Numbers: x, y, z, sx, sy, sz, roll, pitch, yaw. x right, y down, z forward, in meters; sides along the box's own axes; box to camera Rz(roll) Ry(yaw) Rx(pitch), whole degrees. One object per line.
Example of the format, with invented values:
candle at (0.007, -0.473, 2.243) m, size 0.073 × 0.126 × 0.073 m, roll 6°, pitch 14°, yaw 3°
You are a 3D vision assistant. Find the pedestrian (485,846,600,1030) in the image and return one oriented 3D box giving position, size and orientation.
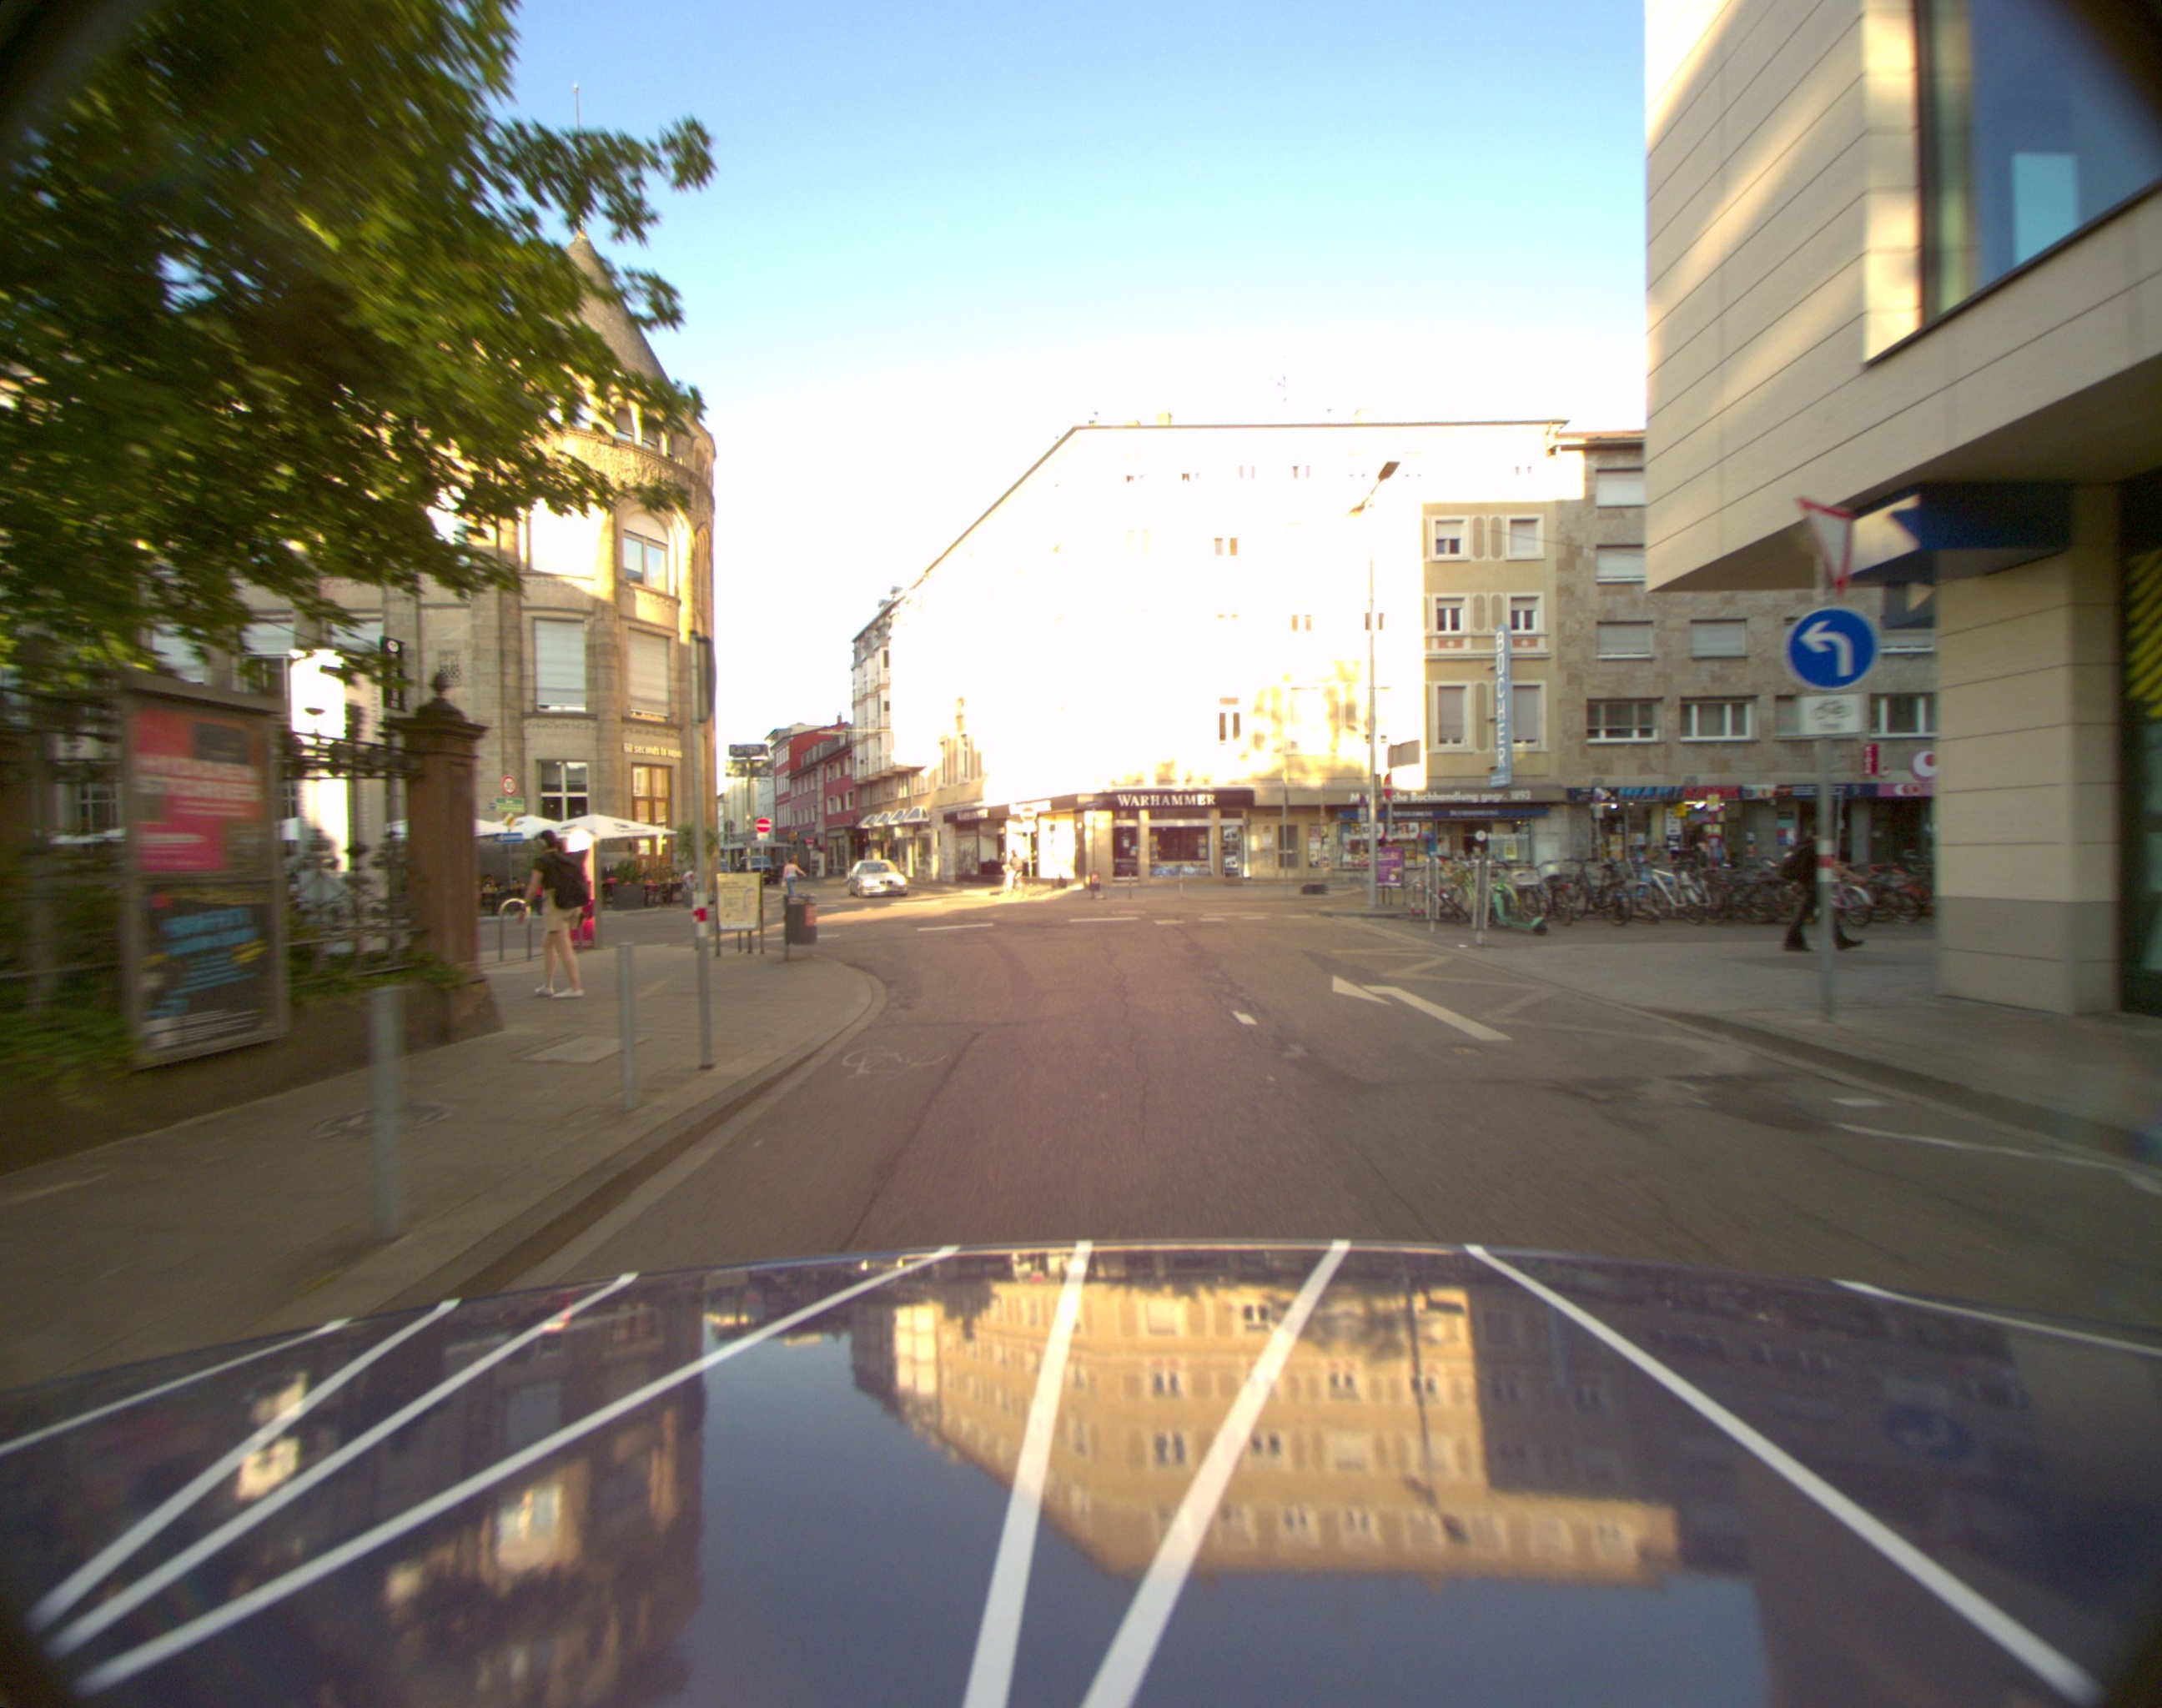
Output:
pedestrian at (-5.393, 0.789, 7.612) m, size 0.843 × 1.713 × 0.639 m, roll 0°, pitch 1°, yaw 35°

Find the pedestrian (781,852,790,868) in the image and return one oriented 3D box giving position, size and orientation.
pedestrian at (-27.202, 0.513, 69.991) m, size 0.613 × 1.464 × 0.546 m, roll -3°, pitch 2°, yaw -39°

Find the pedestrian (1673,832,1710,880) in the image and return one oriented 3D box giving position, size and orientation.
pedestrian at (21.997, 0.081, 27.408) m, size 0.802 × 1.697 × 0.665 m, roll -1°, pitch 1°, yaw 0°

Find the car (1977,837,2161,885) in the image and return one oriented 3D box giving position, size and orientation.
car at (31.293, 0.206, 23.977) m, size 3.998 × 1.383 × 1.863 m, roll -1°, pitch 1°, yaw -3°

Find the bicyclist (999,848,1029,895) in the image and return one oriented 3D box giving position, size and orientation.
bicyclist at (-2.321, 0.593, 26.250) m, size 0.661 × 1.562 × 0.861 m, roll -2°, pitch 2°, yaw -31°

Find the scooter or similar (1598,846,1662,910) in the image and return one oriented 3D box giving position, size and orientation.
scooter or similar at (11.389, 0.470, 15.787) m, size 0.387 × 1.253 × 1.270 m, roll -1°, pitch 2°, yaw -1°

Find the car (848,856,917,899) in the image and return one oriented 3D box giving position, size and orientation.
car at (-7.649, 0.835, 28.958) m, size 2.002 × 1.414 × 4.450 m, roll -2°, pitch 1°, yaw -21°

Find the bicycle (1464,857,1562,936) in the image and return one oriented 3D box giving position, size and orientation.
bicycle at (7.597, 0.701, 13.461) m, size 0.513 × 1.248 × 1.978 m, roll -2°, pitch 1°, yaw -3°

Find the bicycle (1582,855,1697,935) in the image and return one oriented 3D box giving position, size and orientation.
bicycle at (9.765, 0.672, 13.396) m, size 0.513 × 1.248 × 1.978 m, roll -1°, pitch 1°, yaw -2°

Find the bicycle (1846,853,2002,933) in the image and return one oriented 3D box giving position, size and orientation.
bicycle at (14.718, 0.631, 13.364) m, size 0.513 × 1.248 × 1.978 m, roll -1°, pitch 1°, yaw -1°

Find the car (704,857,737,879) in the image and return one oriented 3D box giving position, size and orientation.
car at (-28.636, 1.054, 60.314) m, size 1.782 × 1.656 × 3.990 m, roll -1°, pitch 1°, yaw -34°

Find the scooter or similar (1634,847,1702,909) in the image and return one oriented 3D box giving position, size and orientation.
scooter or similar at (11.979, 0.464, 15.540) m, size 0.387 × 1.205 × 1.270 m, roll -1°, pitch 2°, yaw -1°

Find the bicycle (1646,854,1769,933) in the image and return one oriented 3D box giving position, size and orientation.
bicycle at (10.985, 0.646, 13.424) m, size 0.513 × 1.248 × 1.978 m, roll -1°, pitch 1°, yaw -1°

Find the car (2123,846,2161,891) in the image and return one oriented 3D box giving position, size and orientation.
car at (36.231, 0.426, 23.894) m, size 4.620 × 1.383 × 1.863 m, roll -1°, pitch 1°, yaw -3°

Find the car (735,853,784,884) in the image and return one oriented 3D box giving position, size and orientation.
car at (-20.162, 0.855, 47.578) m, size 2.003 × 1.773 × 4.922 m, roll -2°, pitch 1°, yaw -32°

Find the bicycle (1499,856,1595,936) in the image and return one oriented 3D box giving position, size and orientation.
bicycle at (8.221, 0.697, 13.493) m, size 0.513 × 1.248 × 1.978 m, roll -1°, pitch 1°, yaw 1°

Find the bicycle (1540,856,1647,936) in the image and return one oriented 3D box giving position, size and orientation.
bicycle at (8.978, 0.690, 13.414) m, size 0.513 × 1.248 × 1.978 m, roll -1°, pitch 1°, yaw -1°

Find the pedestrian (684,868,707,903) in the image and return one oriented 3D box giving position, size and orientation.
pedestrian at (-13.559, 1.102, 26.755) m, size 0.608 × 1.182 × 0.820 m, roll -2°, pitch 1°, yaw -20°

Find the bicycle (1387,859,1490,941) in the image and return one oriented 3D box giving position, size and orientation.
bicycle at (6.194, 0.744, 13.309) m, size 0.666 × 1.248 × 2.139 m, roll -2°, pitch 1°, yaw -3°

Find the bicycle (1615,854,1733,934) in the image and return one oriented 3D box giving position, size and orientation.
bicycle at (10.413, 0.655, 13.447) m, size 0.513 × 1.248 × 1.978 m, roll -1°, pitch 1°, yaw -1°

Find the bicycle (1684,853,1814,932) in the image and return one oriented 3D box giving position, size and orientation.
bicycle at (11.701, 0.623, 13.405) m, size 0.513 × 1.248 × 1.978 m, roll -1°, pitch 1°, yaw -1°

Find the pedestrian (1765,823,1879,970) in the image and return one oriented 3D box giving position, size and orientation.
pedestrian at (8.754, 0.474, 9.016) m, size 0.870 × 1.648 × 0.620 m, roll -1°, pitch 2°, yaw 34°

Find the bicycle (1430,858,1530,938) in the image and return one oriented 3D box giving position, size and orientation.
bicycle at (6.960, 0.723, 13.388) m, size 0.582 × 1.248 × 2.043 m, roll -2°, pitch 1°, yaw -3°

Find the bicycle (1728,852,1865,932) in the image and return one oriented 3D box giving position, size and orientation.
bicycle at (12.466, 0.617, 13.333) m, size 0.513 × 1.248 × 1.978 m, roll -1°, pitch 1°, yaw -1°

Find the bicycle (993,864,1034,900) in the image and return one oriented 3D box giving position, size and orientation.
bicycle at (-2.340, 0.944, 26.320) m, size 0.667 × 1.132 × 1.817 m, roll -2°, pitch 2°, yaw -30°

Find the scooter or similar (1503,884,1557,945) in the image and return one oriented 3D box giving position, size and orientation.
scooter or similar at (7.048, 0.935, 11.953) m, size 0.387 × 0.879 × 0.770 m, roll -1°, pitch 2°, yaw -1°

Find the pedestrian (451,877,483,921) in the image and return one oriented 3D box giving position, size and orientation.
pedestrian at (-18.131, 1.325, 22.430) m, size 0.687 × 1.238 × 0.599 m, roll -2°, pitch 1°, yaw -40°

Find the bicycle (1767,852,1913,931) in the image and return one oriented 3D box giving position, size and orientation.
bicycle at (13.302, 0.615, 13.408) m, size 0.513 × 1.248 × 1.978 m, roll -1°, pitch 1°, yaw -3°

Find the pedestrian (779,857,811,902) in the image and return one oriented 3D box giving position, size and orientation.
pedestrian at (-10.504, 0.925, 27.917) m, size 0.732 × 1.604 × 0.806 m, roll 0°, pitch 1°, yaw 30°

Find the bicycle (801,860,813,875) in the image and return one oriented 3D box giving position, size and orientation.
bicycle at (-22.035, 1.059, 61.108) m, size 0.546 × 1.185 × 1.837 m, roll -2°, pitch 1°, yaw -31°

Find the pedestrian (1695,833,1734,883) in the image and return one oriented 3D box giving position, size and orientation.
pedestrian at (22.133, 0.135, 26.564) m, size 0.802 × 1.697 × 0.665 m, roll -1°, pitch 1°, yaw 0°

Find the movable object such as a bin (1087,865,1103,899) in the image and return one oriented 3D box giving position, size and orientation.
movable object such as a bin at (0.446, 0.905, 24.710) m, size 0.361 × 1.057 × 0.355 m, roll -2°, pitch 2°, yaw -41°

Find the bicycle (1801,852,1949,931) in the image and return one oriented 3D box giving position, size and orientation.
bicycle at (13.933, 0.606, 13.428) m, size 0.513 × 1.248 × 1.978 m, roll -1°, pitch 1°, yaw -1°
